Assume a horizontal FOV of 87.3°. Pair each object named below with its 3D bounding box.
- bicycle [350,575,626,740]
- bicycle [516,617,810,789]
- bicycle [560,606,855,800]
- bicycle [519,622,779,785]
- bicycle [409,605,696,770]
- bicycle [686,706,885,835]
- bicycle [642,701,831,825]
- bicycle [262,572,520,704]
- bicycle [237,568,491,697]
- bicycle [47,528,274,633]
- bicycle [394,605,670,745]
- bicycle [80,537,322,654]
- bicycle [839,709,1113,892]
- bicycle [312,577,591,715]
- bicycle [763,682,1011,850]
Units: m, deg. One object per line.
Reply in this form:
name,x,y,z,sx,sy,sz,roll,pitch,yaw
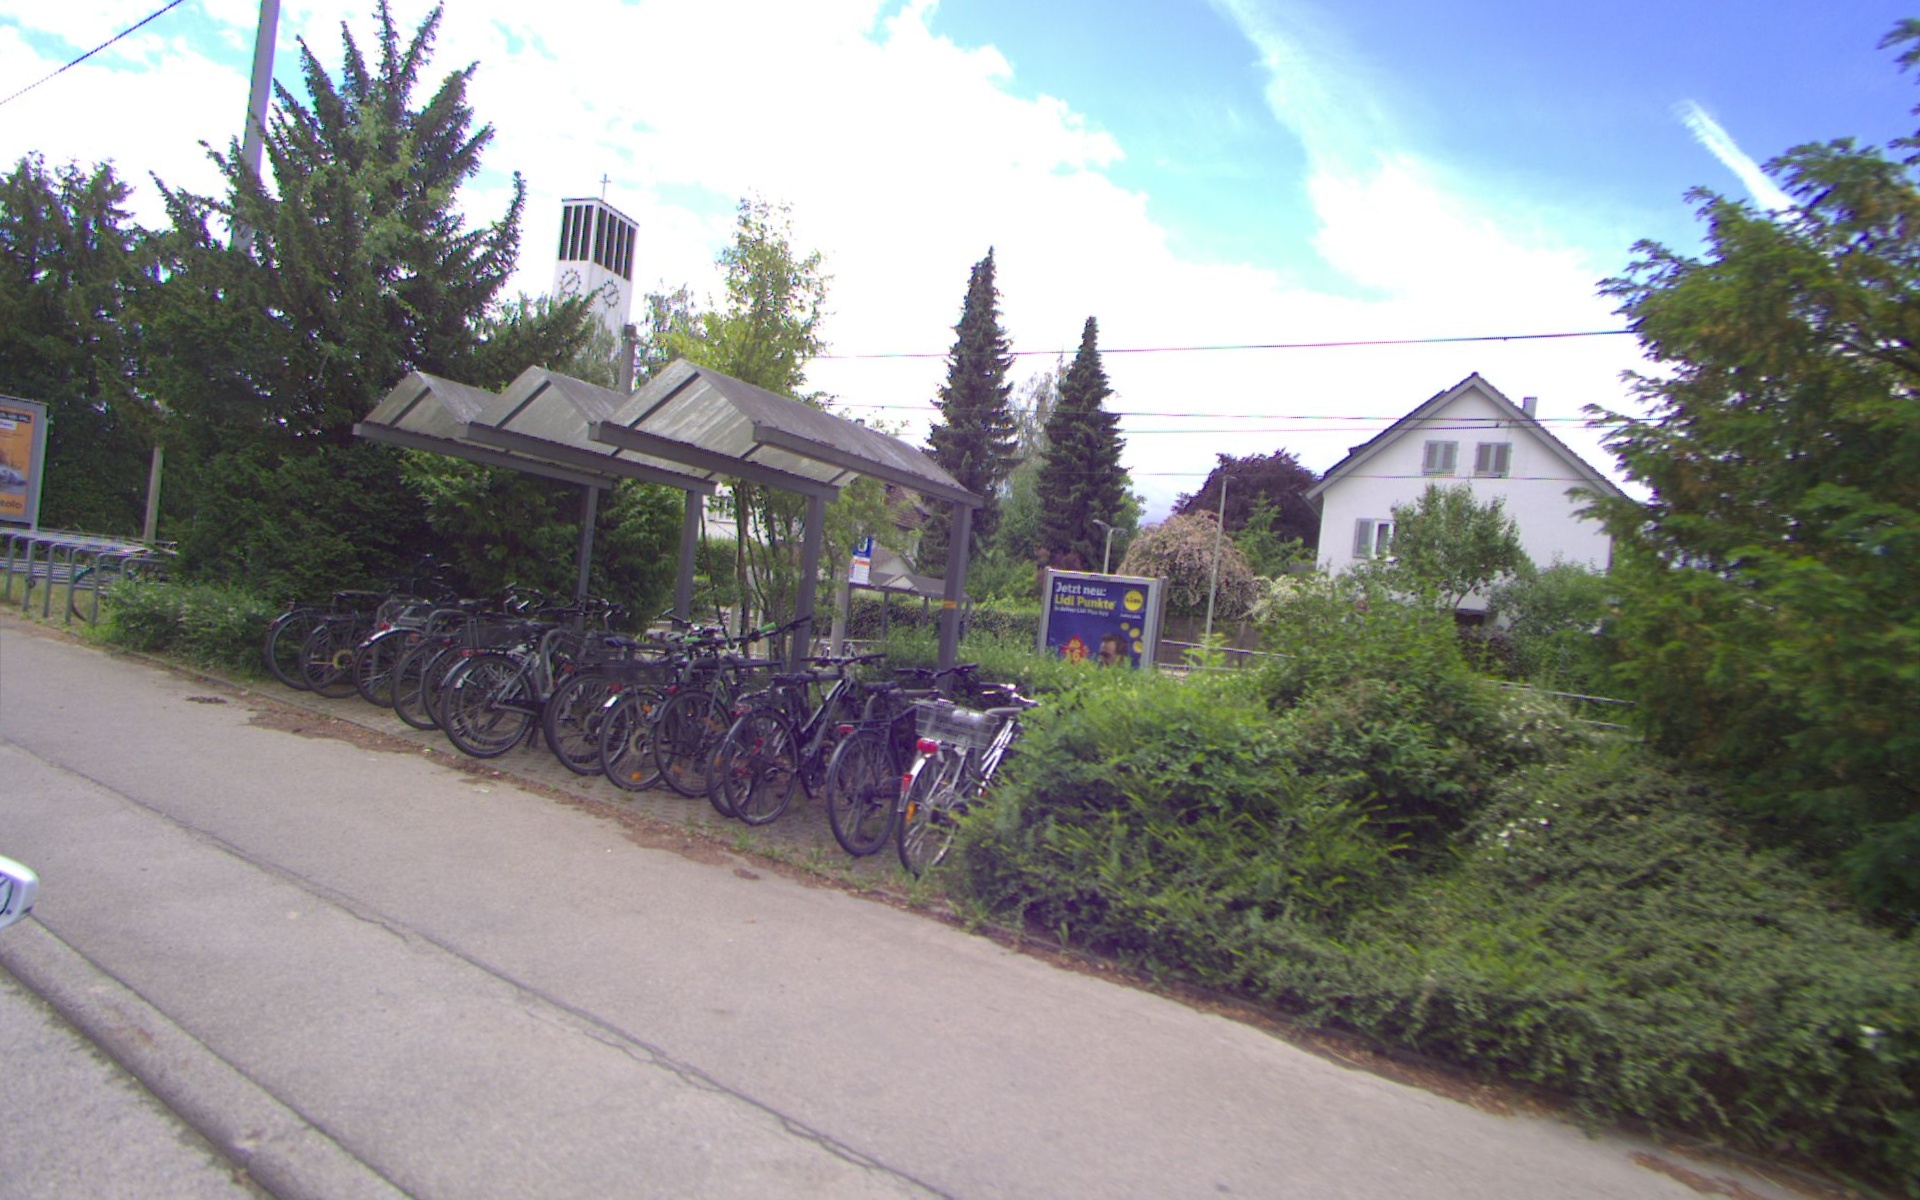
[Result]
bicycle,-3.814,0.500,8.371,0.521,1.164,2.094,7,-1,27
bicycle,-2.082,0.745,7.430,0.444,1.060,2.201,6,-1,35
bicycle,-1.705,0.730,7.237,0.444,1.163,2.201,6,-1,35
bicycle,-2.316,0.730,7.851,0.443,1.061,2.203,7,2,28
bicycle,-3.035,0.669,7.794,0.443,1.060,2.206,7,-1,28
bicycle,-1.074,1.069,6.697,0.326,0.646,1.990,7,-2,19
bicycle,-1.405,1.022,6.643,0.326,0.646,1.684,7,-2,19
bicycle,-5.189,0.411,9.367,0.443,1.059,2.094,7,-2,27
bicycle,-5.635,0.368,9.683,0.443,1.059,2.094,7,-2,27
bicycle,-9.869,-0.207,12.528,0.538,1.094,2.090,6,0,32
bicycle,-3.356,0.634,8.177,0.443,0.949,2.207,7,-2,27
bicycle,-8.755,-0.013,11.720,0.550,1.059,2.093,6,-3,32
bicycle,0.195,1.112,5.930,0.444,0.836,2.079,6,-2,35
bicycle,-4.417,0.440,8.871,2.079,1.060,0.446,6,0,-40
bicycle,-0.363,0.990,6.324,0.444,0.836,1.994,7,-2,30
